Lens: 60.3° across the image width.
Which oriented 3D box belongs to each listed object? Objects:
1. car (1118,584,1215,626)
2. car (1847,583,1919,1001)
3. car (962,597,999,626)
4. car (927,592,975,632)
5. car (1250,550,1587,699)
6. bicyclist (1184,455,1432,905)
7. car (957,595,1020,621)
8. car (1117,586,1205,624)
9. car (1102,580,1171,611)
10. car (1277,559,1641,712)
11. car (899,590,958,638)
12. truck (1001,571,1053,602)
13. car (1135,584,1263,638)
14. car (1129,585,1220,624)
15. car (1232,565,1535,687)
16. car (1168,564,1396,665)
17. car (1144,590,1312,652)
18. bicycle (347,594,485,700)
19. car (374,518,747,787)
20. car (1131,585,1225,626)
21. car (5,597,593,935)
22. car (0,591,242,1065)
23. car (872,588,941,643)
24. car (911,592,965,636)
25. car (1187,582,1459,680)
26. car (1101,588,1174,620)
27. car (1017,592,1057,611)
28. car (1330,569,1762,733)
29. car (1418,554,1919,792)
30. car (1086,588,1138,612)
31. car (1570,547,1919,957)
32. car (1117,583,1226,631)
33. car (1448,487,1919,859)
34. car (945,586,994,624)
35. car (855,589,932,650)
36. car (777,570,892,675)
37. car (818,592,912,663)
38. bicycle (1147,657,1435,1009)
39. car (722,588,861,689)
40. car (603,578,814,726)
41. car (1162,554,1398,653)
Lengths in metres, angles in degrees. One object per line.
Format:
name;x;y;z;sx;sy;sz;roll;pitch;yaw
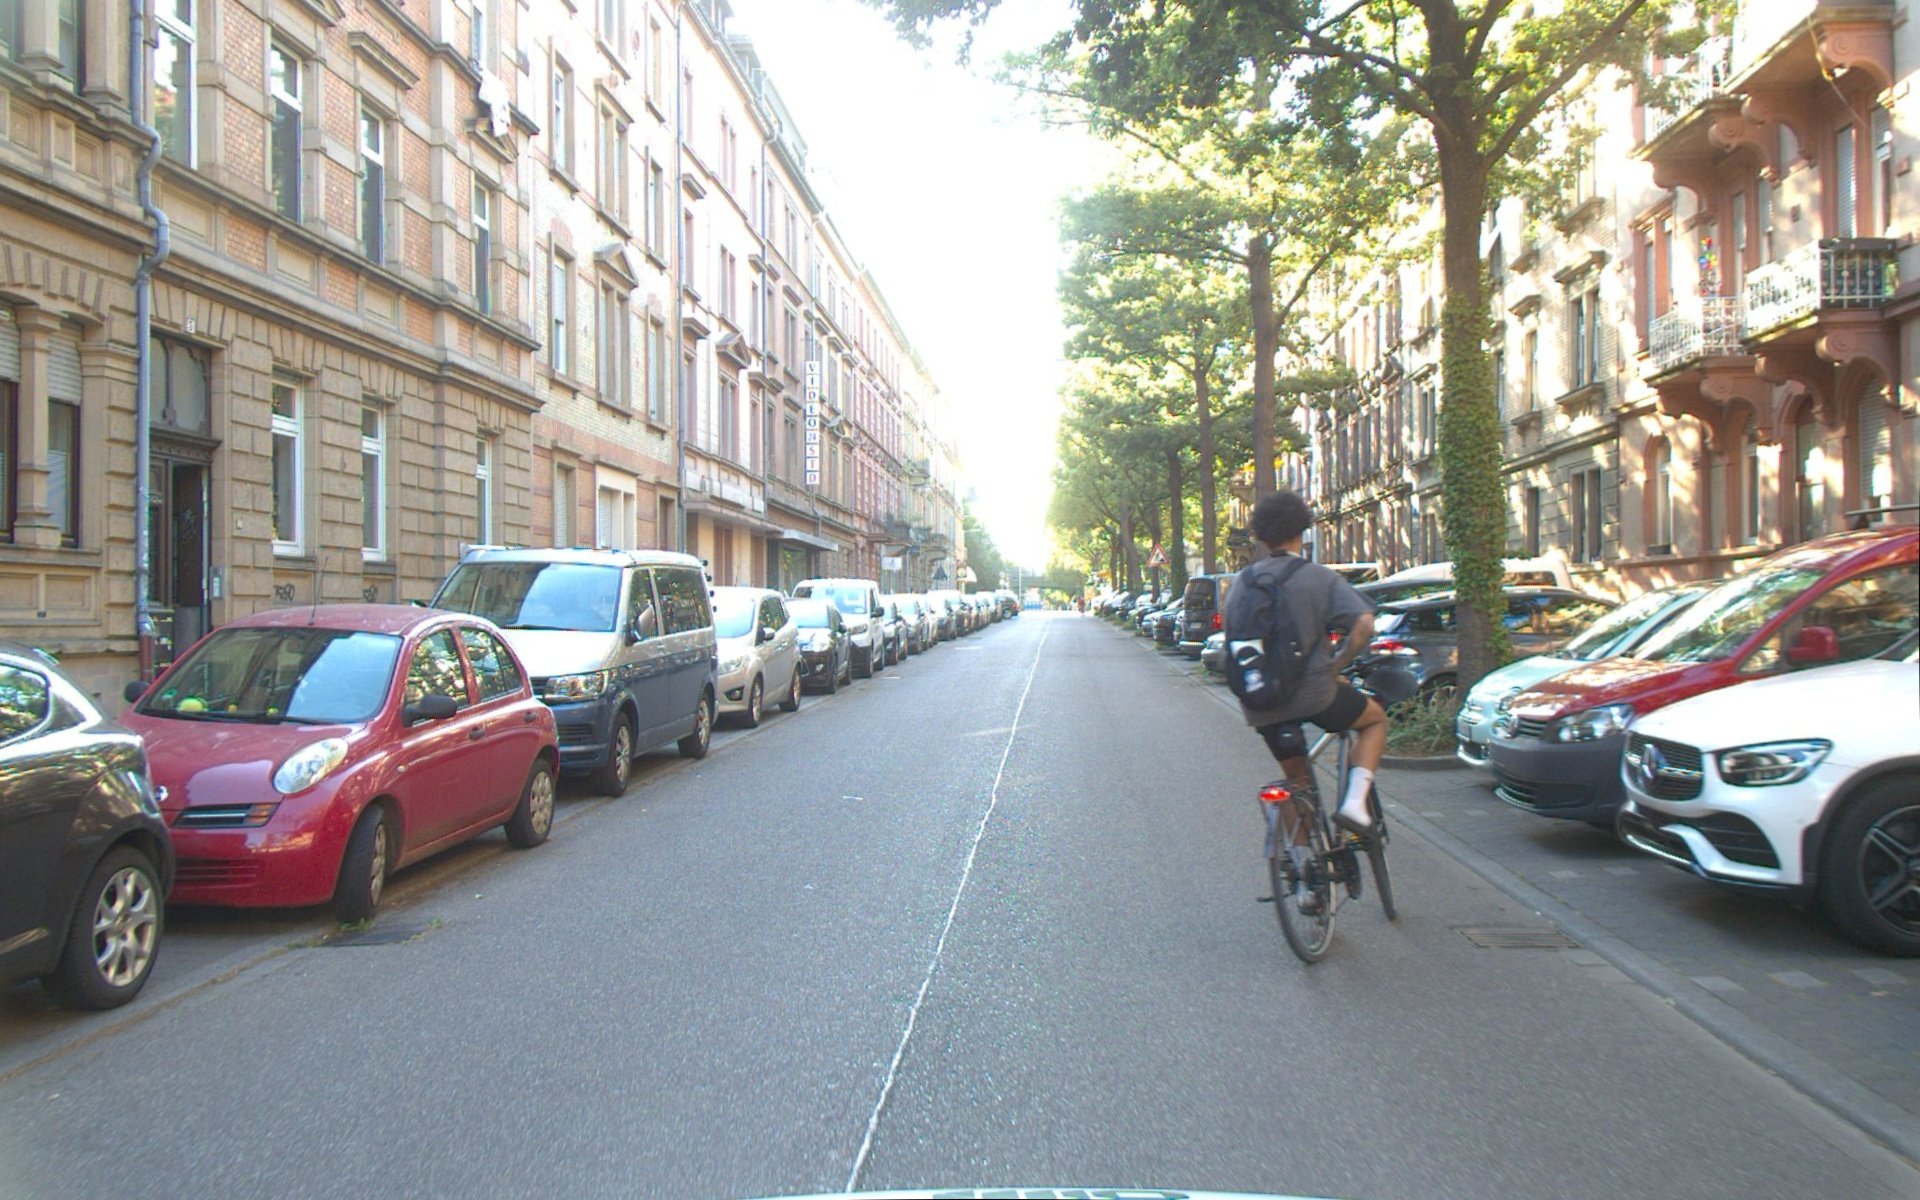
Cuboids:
car;8.685;0.205;69.788;3.775;1.601;1.716;-2;0;-5
car;5.252;0.565;5.166;3.927;1.459;1.795;-3;-1;3
car;1.163;0.641;92.008;1.952;1.512;4.001;-1;-2;2
car;-0.347;0.460;65.881;1.722;1.498;4.060;-1;0;2
car;6.241;0.327;22.888;4.133;1.807;1.836;-2;0;2
bicyclist;1.590;0.331;7.412;0.975;1.821;1.208;0;-1;17
car;1.791;0.520;102.326;1.960;1.512;3.985;-2;-2;35
car;9.311;0.230;76.817;3.775;1.601;1.716;-2;0;-5
car;10.074;-0.247;94.555;3.770;1.601;1.718;-2;0;2
car;6.001;0.421;20.247;3.926;1.635;1.734;-2;-1;3
car;-0.995;0.435;54.637;1.722;1.498;4.060;-1;0;2
truck;9.435;-1.891;231.271;7.156;4.019;2.409;2;0;-34
car;7.563;0.336;52.522;3.771;1.505;1.718;-2;0;0
car;9.660;0.205;74.758;3.775;1.601;1.716;-2;0;-5
car;6.479;0.382;25.584;4.138;1.639;1.834;-2;0;-4
car;6.524;0.276;33.613;4.153;1.826;1.827;-2;0;-16
car;6.474;0.494;40.226;3.771;1.316;1.718;-2;0;0
bicycle;-6.992;0.561;21.442;0.725;1.277;2.828;0;0;3
car;-3.345;0.385;15.056;1.793;1.977;5.262;1;0;3
car;9.494;0.228;72.151;3.775;1.601;1.716;-2;0;-5
car;-3.449;0.749;9.425;1.559;1.501;3.702;1;0;5
car;-3.998;0.732;4.965;1.722;1.527;4.061;1;0;3
car;-1.512;0.427;48.401;1.722;1.498;4.060;-1;0;2
car;-0.748;0.493;59.398;1.722;1.498;4.060;-1;0;2
car;6.076;0.500;27.988;4.135;1.428;1.835;-2;0;-1
car;9.617;0.210;89.676;3.770;1.601;1.718;-2;0;2
car;8.002;0.118;171.012;3.902;1.891;1.753;1;0;11
car;6.072;0.524;17.489;3.926;1.493;1.734;-2;-1;3
car;5.580;0.489;12.607;3.586;1.480;1.849;-3;1;-3
car;11.447;-0.009;124.849;3.770;1.601;1.718;-2;0;2
car;5.262;0.518;7.528;4.254;1.583;1.851;-3;1;3
car;7.979;0.261;62.477;3.775;1.601;1.716;-2;0;-5
car;5.467;0.329;10.120;4.352;1.957;1.850;-3;1;1
car;0.445;0.252;71.874;1.952;1.512;4.001;-1;-2;2
car;-1.705;0.483;43.533;1.722;1.498;4.060;-1;0;2
car;-2.377;0.400;32.395;1.722;1.874;4.531;-1;0;2
car;-2.090;0.581;37.441;1.722;1.498;4.060;-1;0;2
bicycle;1.590;0.877;7.400;0.975;1.178;2.924;0;-1;17
car;-2.711;0.581;27.394;1.722;1.493;4.001;1;0;2
car;-3.061;0.581;21.014;1.717;1.636;4.386;1;0;4
car;7.146;0.075;37.322;4.951;1.959;1.836;-2;0;3
